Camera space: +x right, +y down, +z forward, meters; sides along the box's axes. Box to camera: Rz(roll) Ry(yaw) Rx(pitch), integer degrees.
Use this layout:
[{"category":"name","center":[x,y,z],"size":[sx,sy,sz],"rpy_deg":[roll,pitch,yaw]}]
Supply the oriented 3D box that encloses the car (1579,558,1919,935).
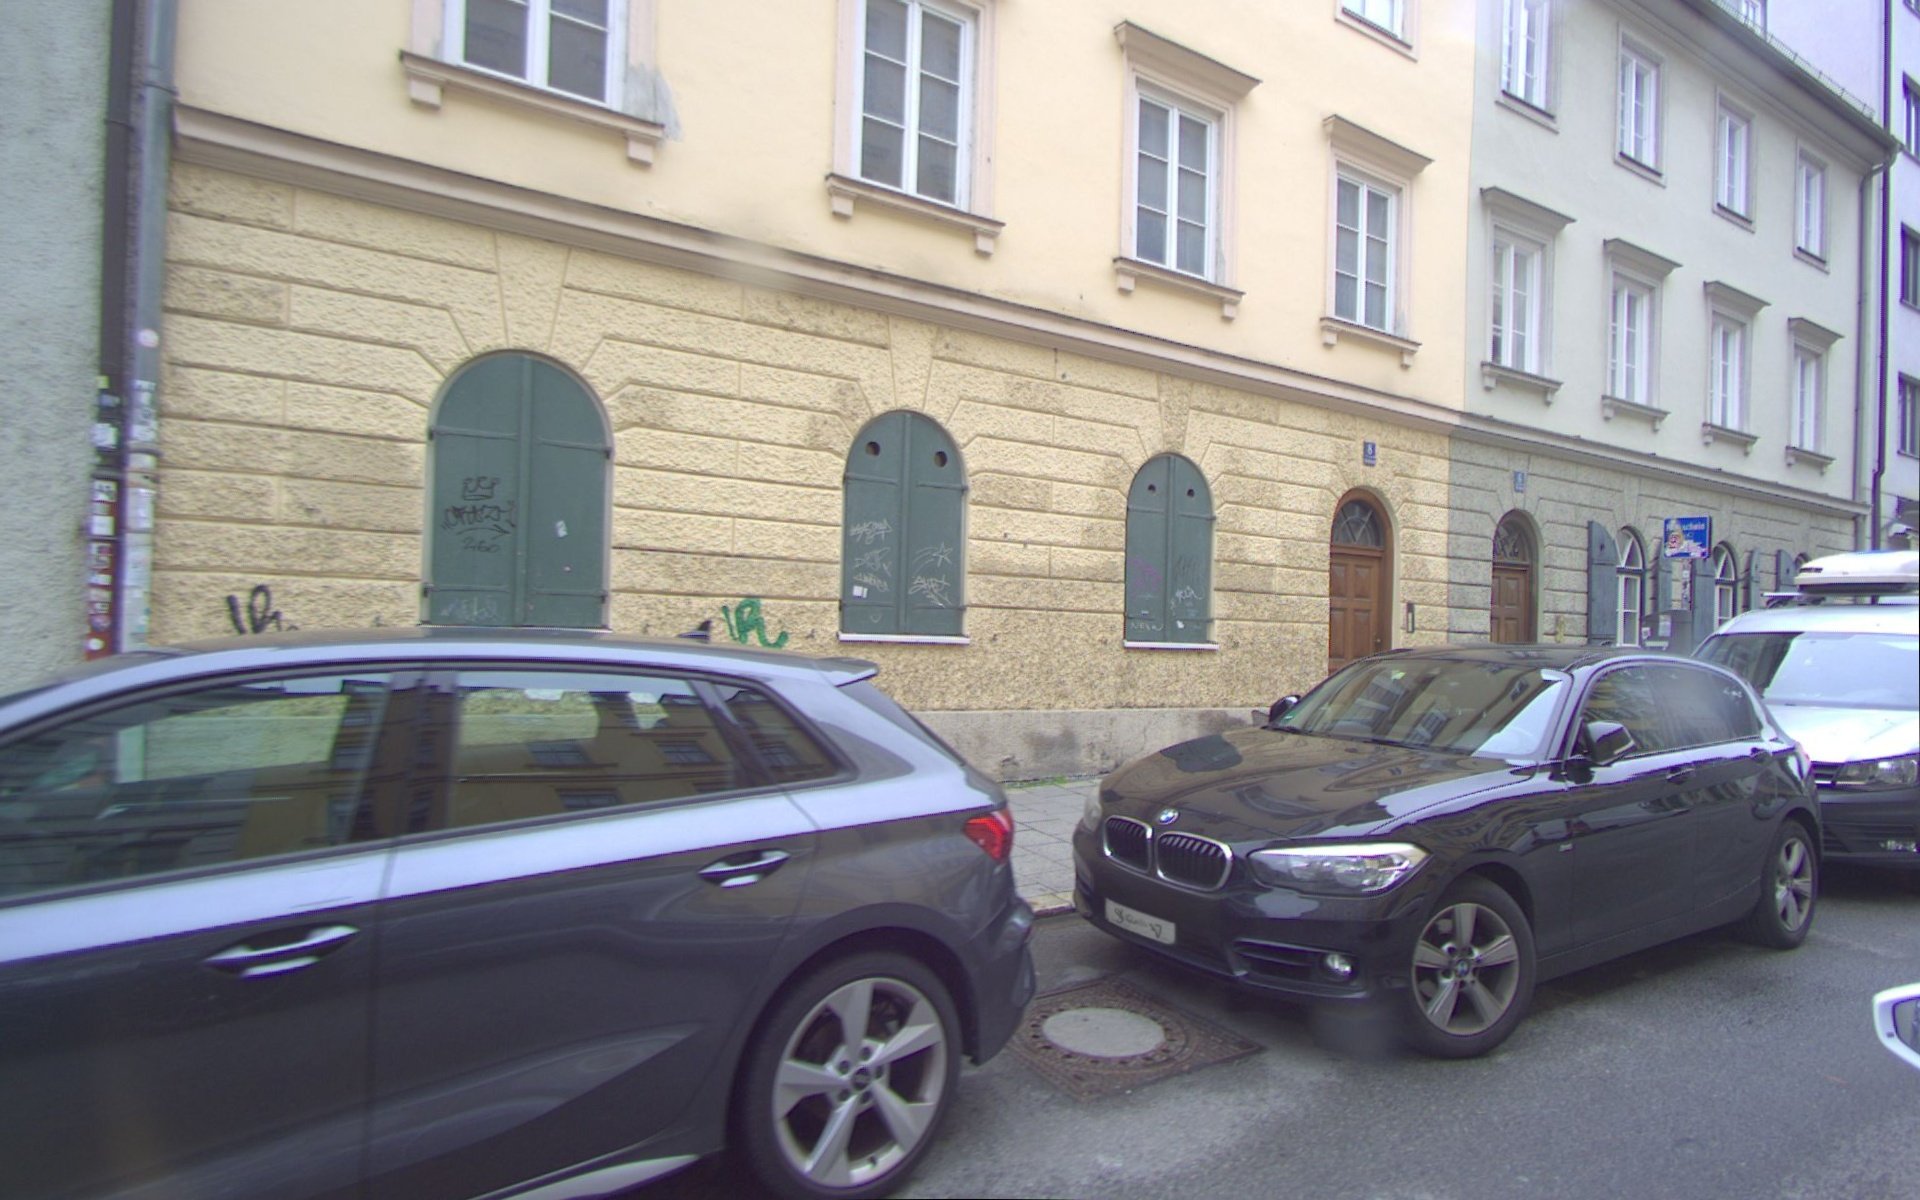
[{"category":"car","center":[6.572,0.859,7.393],"size":[4.579,2.021,1.743],"rpy_deg":[2,-1,-35]}]

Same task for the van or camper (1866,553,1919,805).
[{"category":"van or camper","center":[11.287,0.802,10.175],"size":[5.214,2.311,1.745],"rpy_deg":[2,-1,-32]}]

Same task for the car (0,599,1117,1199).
[{"category":"car","center":[-1.722,0.762,2.525],"size":[4.089,1.460,1.805],"rpy_deg":[2,-2,-34]}]

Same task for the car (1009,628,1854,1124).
[{"category":"car","center":[2.399,0.901,4.799],"size":[4.058,1.427,1.745],"rpy_deg":[2,-1,-32]}]
